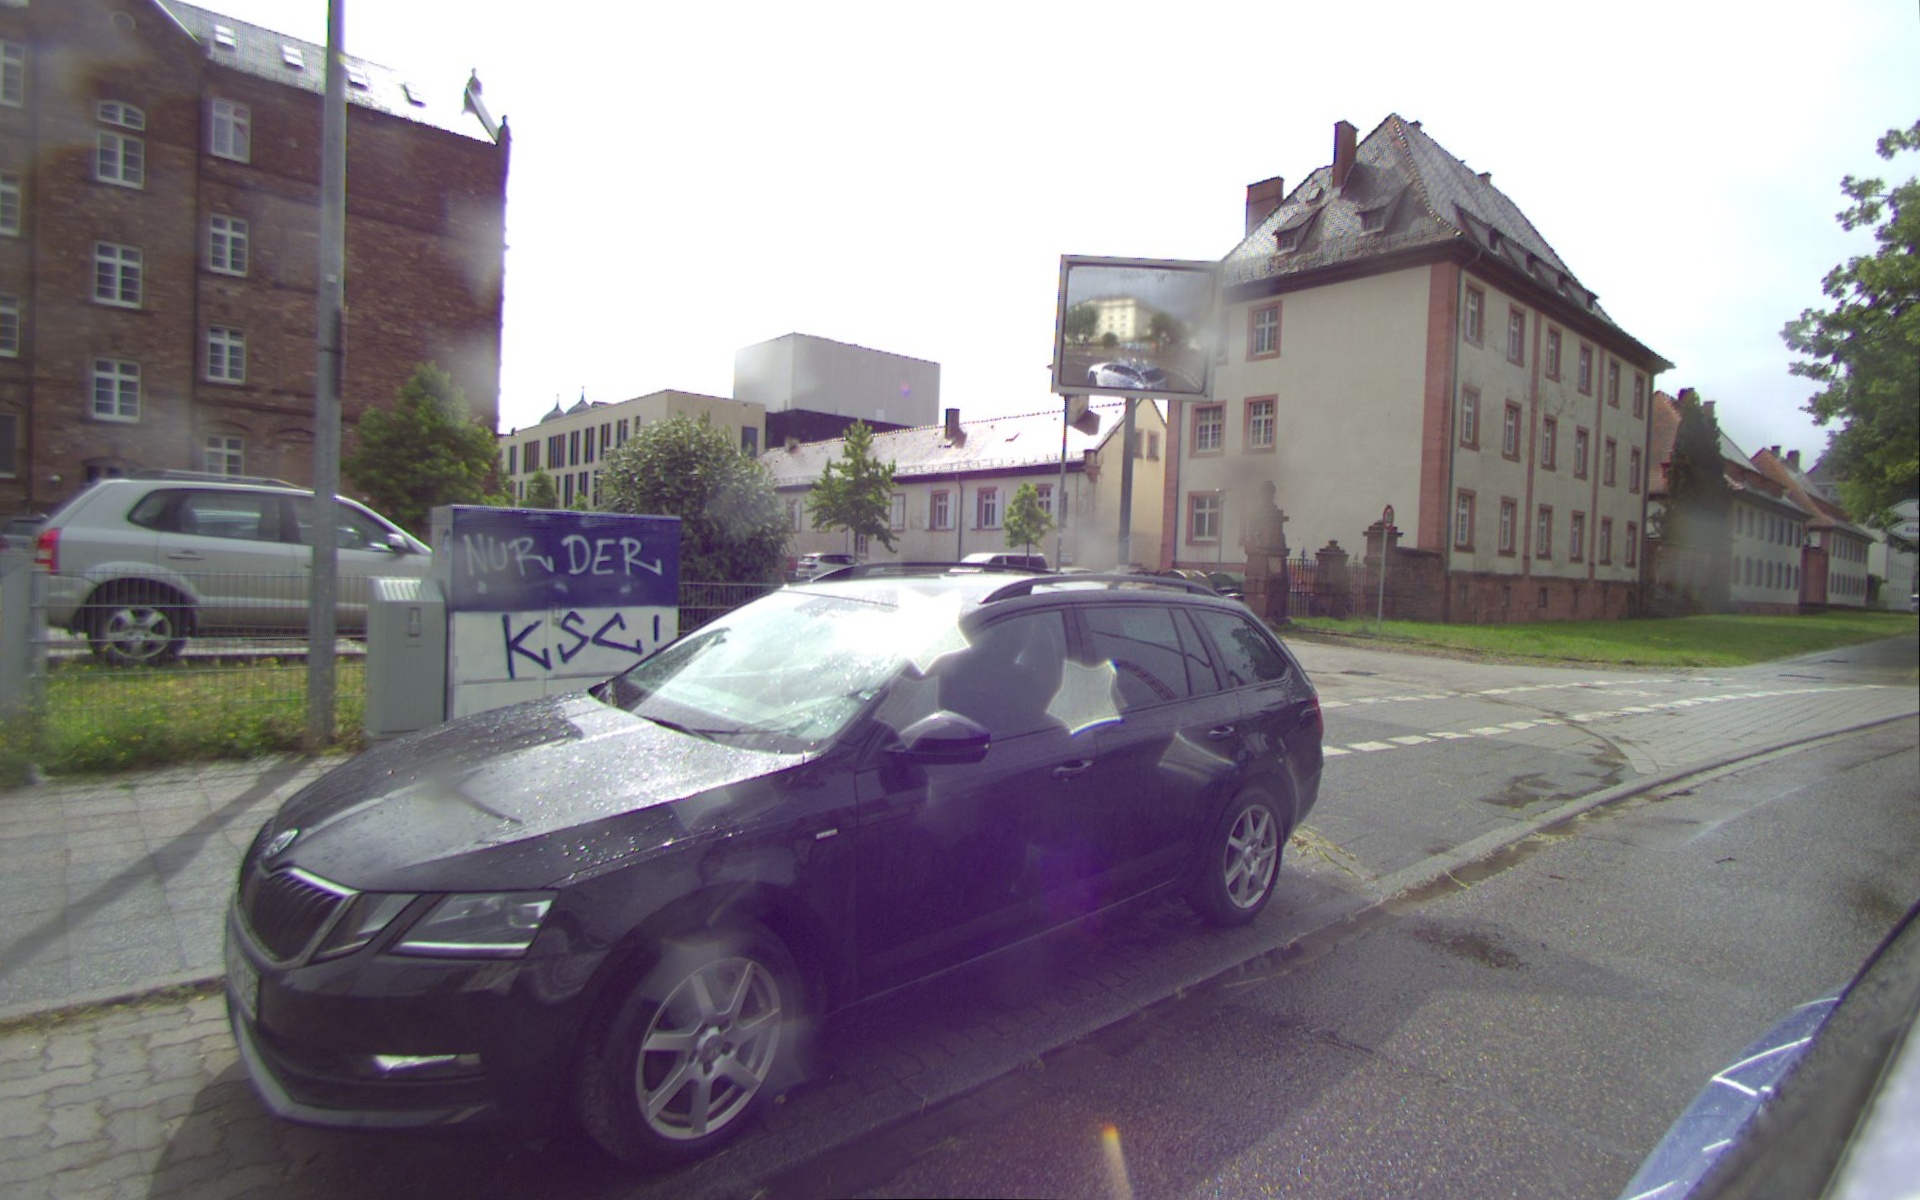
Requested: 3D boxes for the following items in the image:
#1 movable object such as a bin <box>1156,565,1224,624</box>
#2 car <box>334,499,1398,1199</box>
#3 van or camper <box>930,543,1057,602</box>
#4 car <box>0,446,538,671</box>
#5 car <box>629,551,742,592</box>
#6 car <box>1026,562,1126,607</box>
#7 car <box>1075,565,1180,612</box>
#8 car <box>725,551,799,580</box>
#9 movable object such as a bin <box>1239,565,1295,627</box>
[{"bbox_3d":[6.124,-0.144,26.952,1.366,1.475,1.109,1,3,-40],"label":"movable object such as a bin"},{"bbox_3d":[0.004,0.515,4.340,4.304,1.558,1.777,0,4,-43],"label":"car"},{"bbox_3d":[1.374,-1.037,39.686,5.093,2.143,1.793,1,0,-40],"label":"van or camper"},{"bbox_3d":[-6.589,-0.360,9.931,4.161,1.771,1.809,1,3,-39],"label":"car"},{"bbox_3d":[-10.298,-1.060,38.092,3.737,1.471,1.758,-1,1,-39],"label":"car"},{"bbox_3d":[4.242,-0.549,36.909,3.511,1.464,1.599,1,3,-40],"label":"car"},{"bbox_3d":[5.749,-0.383,34.573,3.511,1.464,1.599,1,3,-40],"label":"car"},{"bbox_3d":[-10.698,-1.871,54.657,3.511,1.394,1.708,1,3,-40],"label":"car"},{"bbox_3d":[7.644,-0.109,25.222,1.077,1.475,0.801,1,3,-40],"label":"movable object such as a bin"}]
